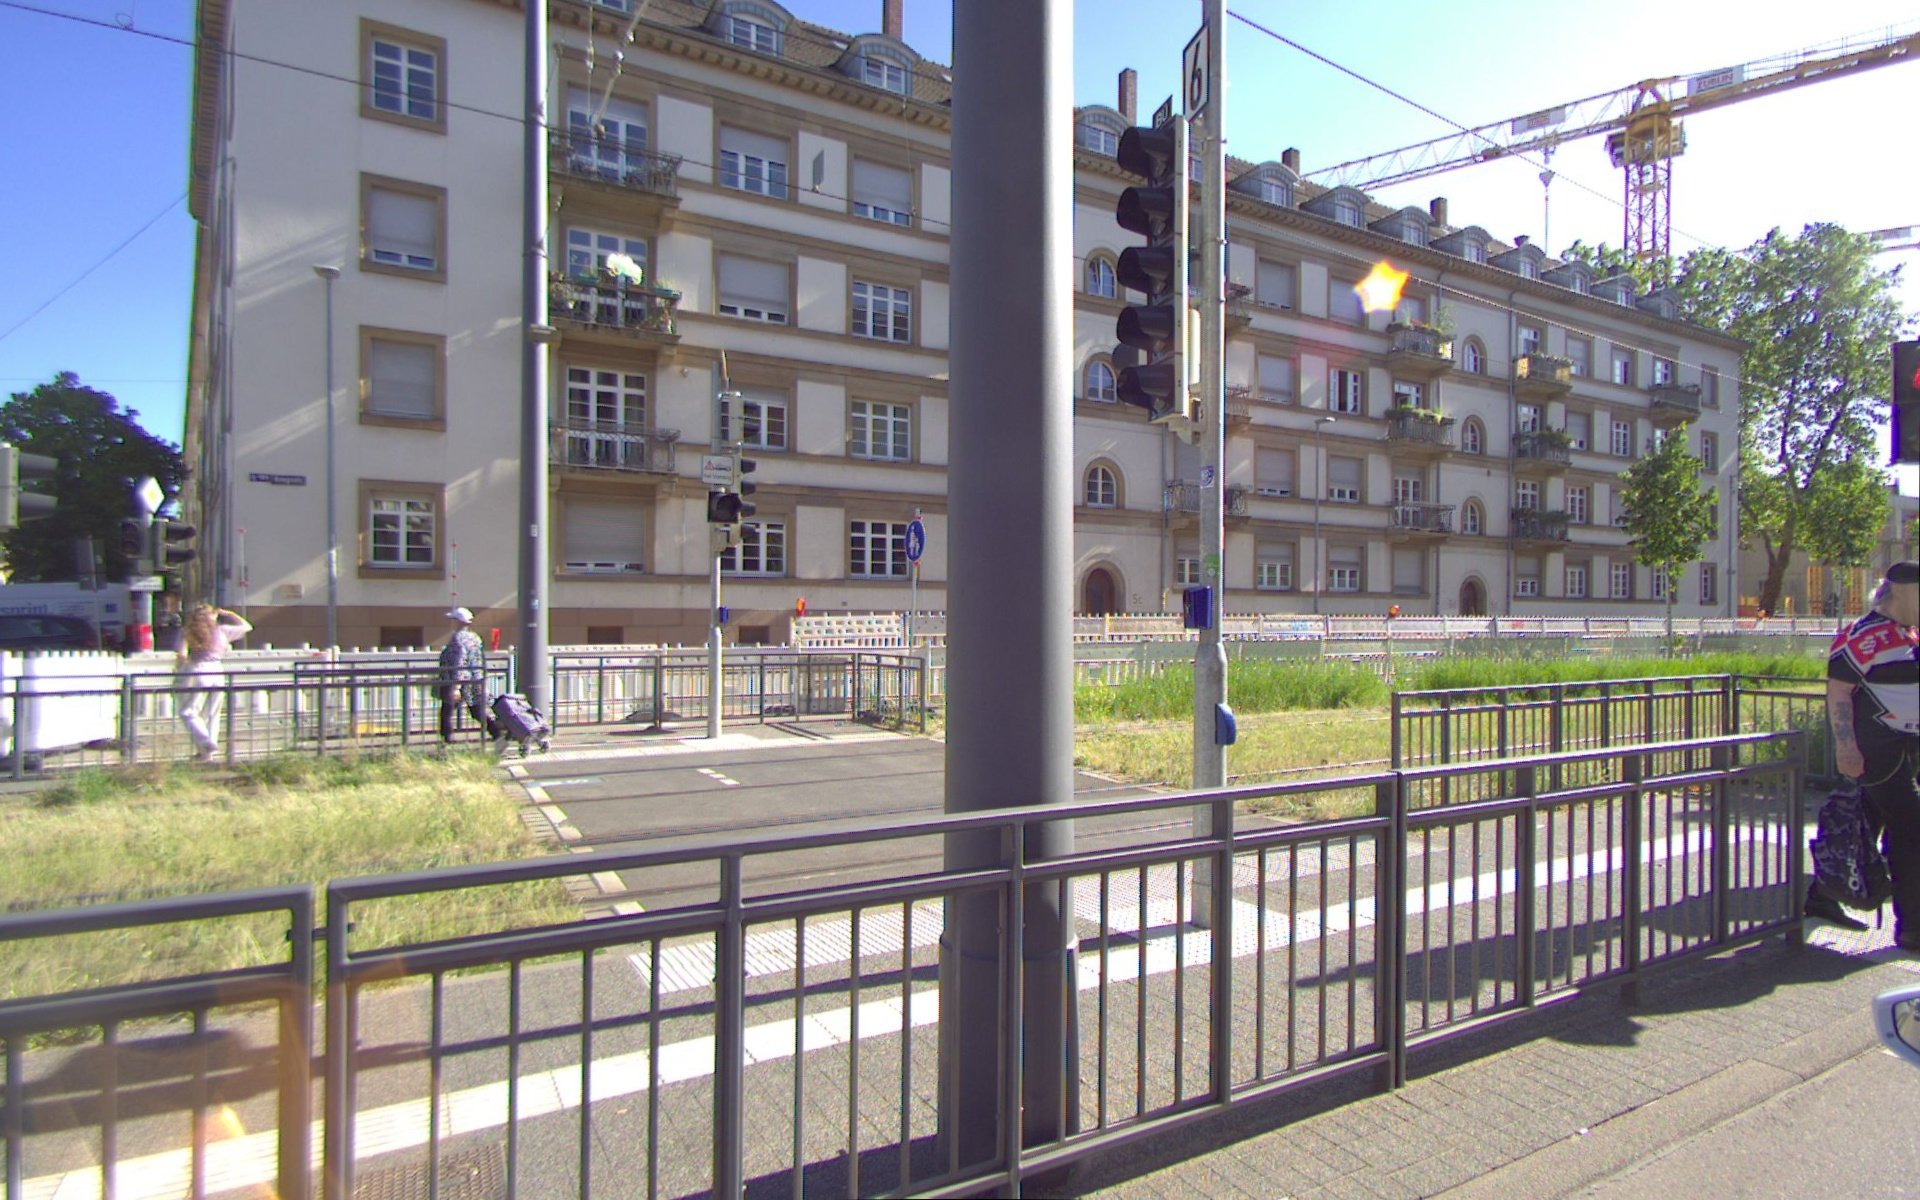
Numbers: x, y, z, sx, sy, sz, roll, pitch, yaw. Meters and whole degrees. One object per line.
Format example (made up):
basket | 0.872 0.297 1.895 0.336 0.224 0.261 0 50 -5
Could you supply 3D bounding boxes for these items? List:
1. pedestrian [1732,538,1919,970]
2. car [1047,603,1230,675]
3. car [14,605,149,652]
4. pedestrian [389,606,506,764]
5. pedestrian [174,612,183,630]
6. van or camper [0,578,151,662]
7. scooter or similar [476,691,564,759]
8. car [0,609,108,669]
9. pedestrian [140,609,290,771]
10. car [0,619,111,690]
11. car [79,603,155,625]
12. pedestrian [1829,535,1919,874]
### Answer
pedestrian | 4.294 0.651 4.674 0.961 1.812 0.859 1 0 -36
car | 4.139 0.871 23.132 3.953 1.536 1.808 1 -1 -30
car | -35.542 1.141 40.774 3.962 1.799 1.724 1 -1 -37
pedestrian | -5.292 0.853 10.419 0.799 1.557 0.798 1 0 -2
pedestrian | -77.323 2.065 99.372 0.682 1.778 0.808 1 -1 -36
van or camper | -28.093 0.608 30.120 5.910 2.433 1.976 1 -1 -42
scooter or similar | -4.658 1.319 10.663 0.695 0.660 0.516 1 0 -2
car | -25.047 1.006 26.670 3.635 1.542 1.672 1 -1 -39
pedestrian | -7.629 0.880 10.310 0.851 1.557 0.909 1 0 21
car | -21.518 1.203 22.592 3.642 1.542 1.672 1 -1 -39
car | -58.183 0.974 69.360 1.730 1.480 3.854 -1 -1 43
pedestrian | 5.824 0.600 5.829 0.647 1.934 1.068 1 -1 -36
